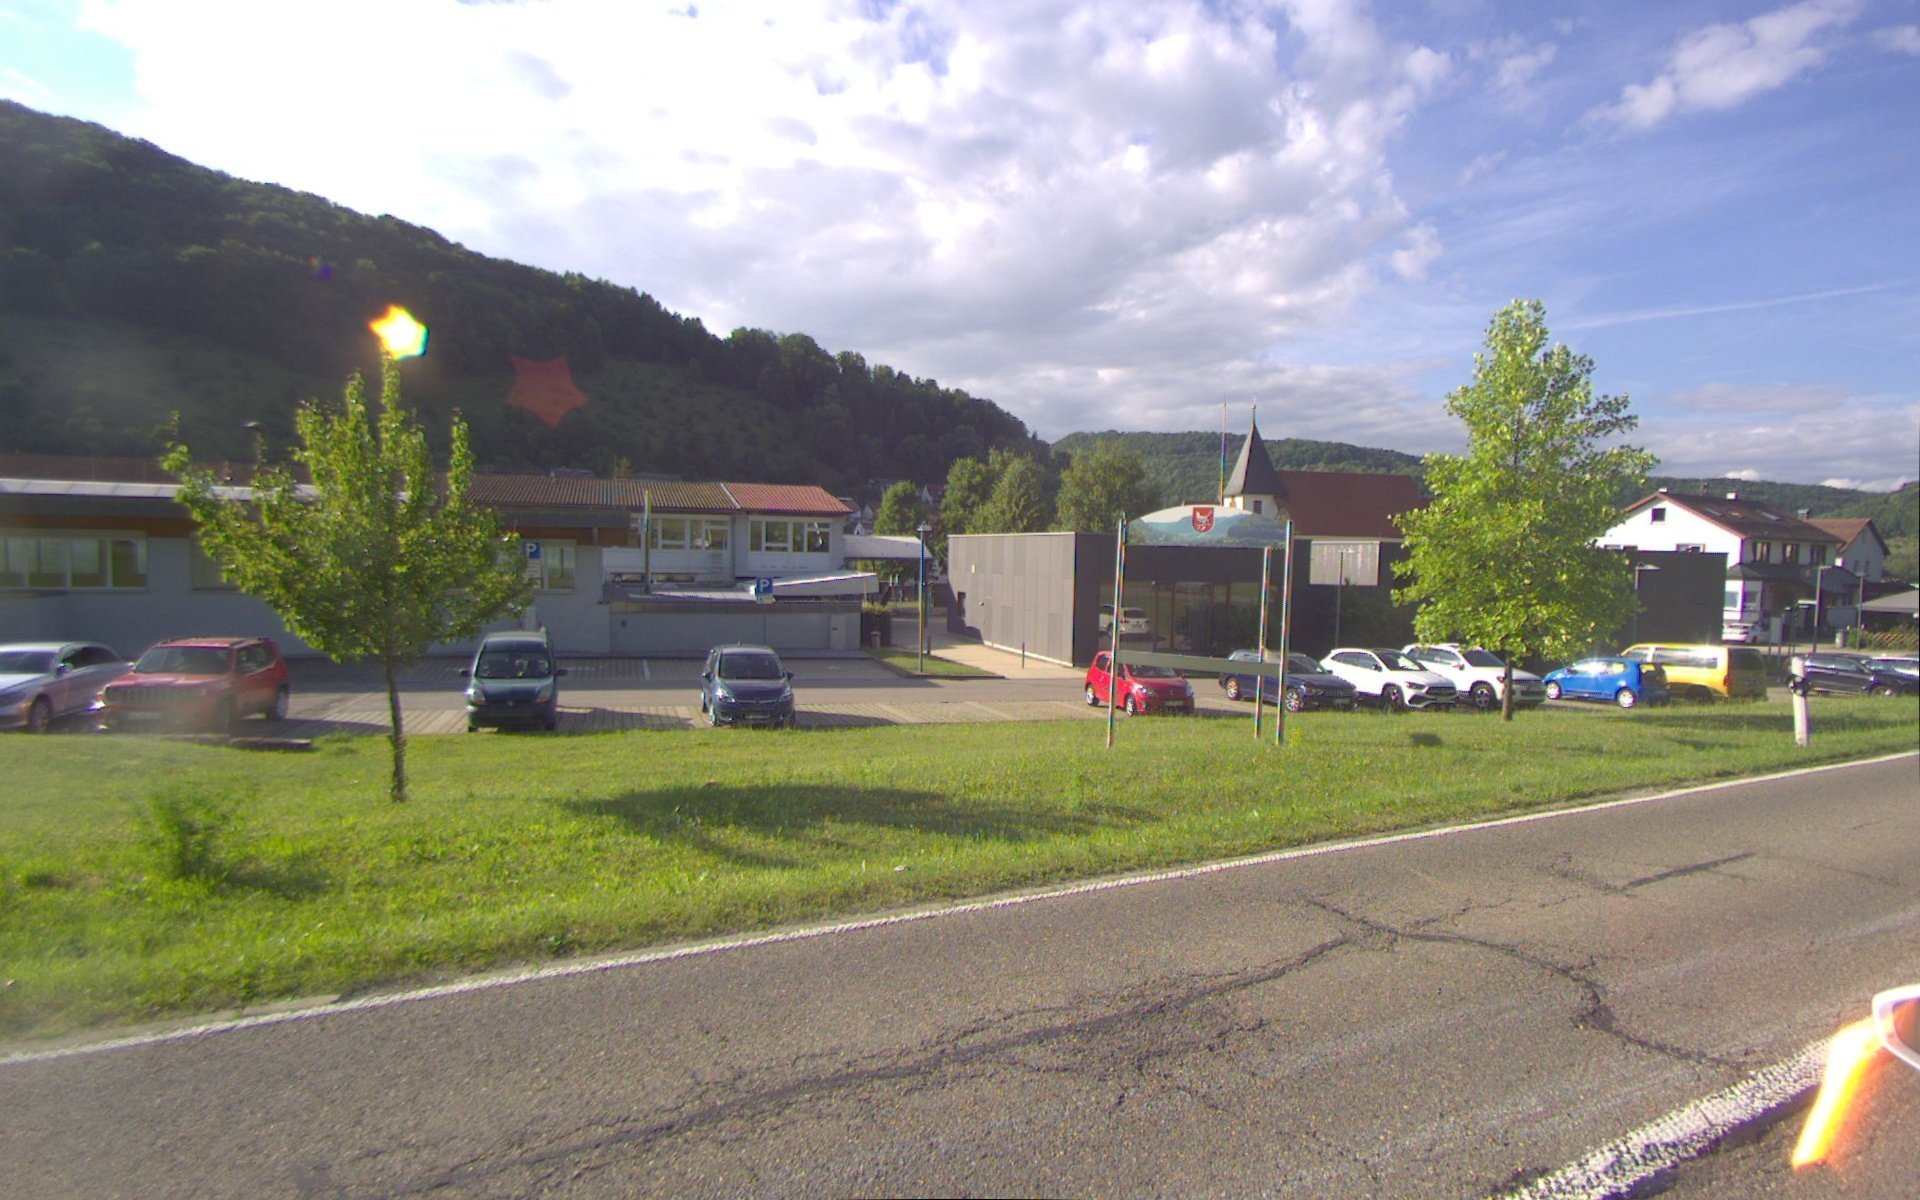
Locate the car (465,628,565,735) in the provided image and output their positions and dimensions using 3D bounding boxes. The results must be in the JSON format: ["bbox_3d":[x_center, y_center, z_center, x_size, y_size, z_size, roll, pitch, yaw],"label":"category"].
[{"bbox_3d":[-9.298,1.602,21.203,1.660,1.817,4.980,2,0,-22],"label":"car"}]

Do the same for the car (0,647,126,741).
[{"bbox_3d":[-17.117,1.622,18.185,1.825,1.386,3.882,2,-1,-20],"label":"car"}]

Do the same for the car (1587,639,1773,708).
[{"bbox_3d":[23.126,2.314,32.497,1.968,1.892,4.608,2,0,-17],"label":"car"}]

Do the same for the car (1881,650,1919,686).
[{"bbox_3d":[38.635,2.718,38.940,1.737,1.327,3.975,2,0,-25],"label":"car"}]

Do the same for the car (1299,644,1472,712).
[{"bbox_3d":[12.025,2.160,28.770,1.970,1.575,4.531,2,0,-21],"label":"car"}]

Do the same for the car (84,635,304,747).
[{"bbox_3d":[-14.158,1.607,18.906,1.818,1.691,4.320,2,0,-16],"label":"car"}]

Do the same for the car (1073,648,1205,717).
[{"bbox_3d":[4.443,2.037,25.442,1.592,1.416,3.715,2,0,-21],"label":"car"}]

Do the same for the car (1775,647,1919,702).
[{"bbox_3d":[32.281,2.639,36.217,1.970,1.659,4.018,2,0,-21],"label":"car"}]

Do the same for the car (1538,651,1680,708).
[{"bbox_3d":[20.557,2.488,31.949,1.609,1.491,3.485,2,0,-23],"label":"car"}]

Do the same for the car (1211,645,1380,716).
[{"bbox_3d":[9.070,2.135,27.574,1.970,1.575,4.531,2,0,-21],"label":"car"}]

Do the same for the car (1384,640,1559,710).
[{"bbox_3d":[15.174,2.192,30.094,1.970,1.725,4.531,2,0,-21],"label":"car"}]

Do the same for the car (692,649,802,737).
[{"bbox_3d":[-4.741,1.932,21.921,1.660,1.471,3.999,-1,1,-22],"label":"car"}]

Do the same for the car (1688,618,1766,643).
[{"bbox_3d":[49.586,1.981,64.971,3.927,1.461,1.767,2,0,-9],"label":"car"}]

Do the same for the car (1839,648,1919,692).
[{"bbox_3d":[36.400,2.680,37.720,1.853,1.513,4.806,2,0,-21],"label":"car"}]
